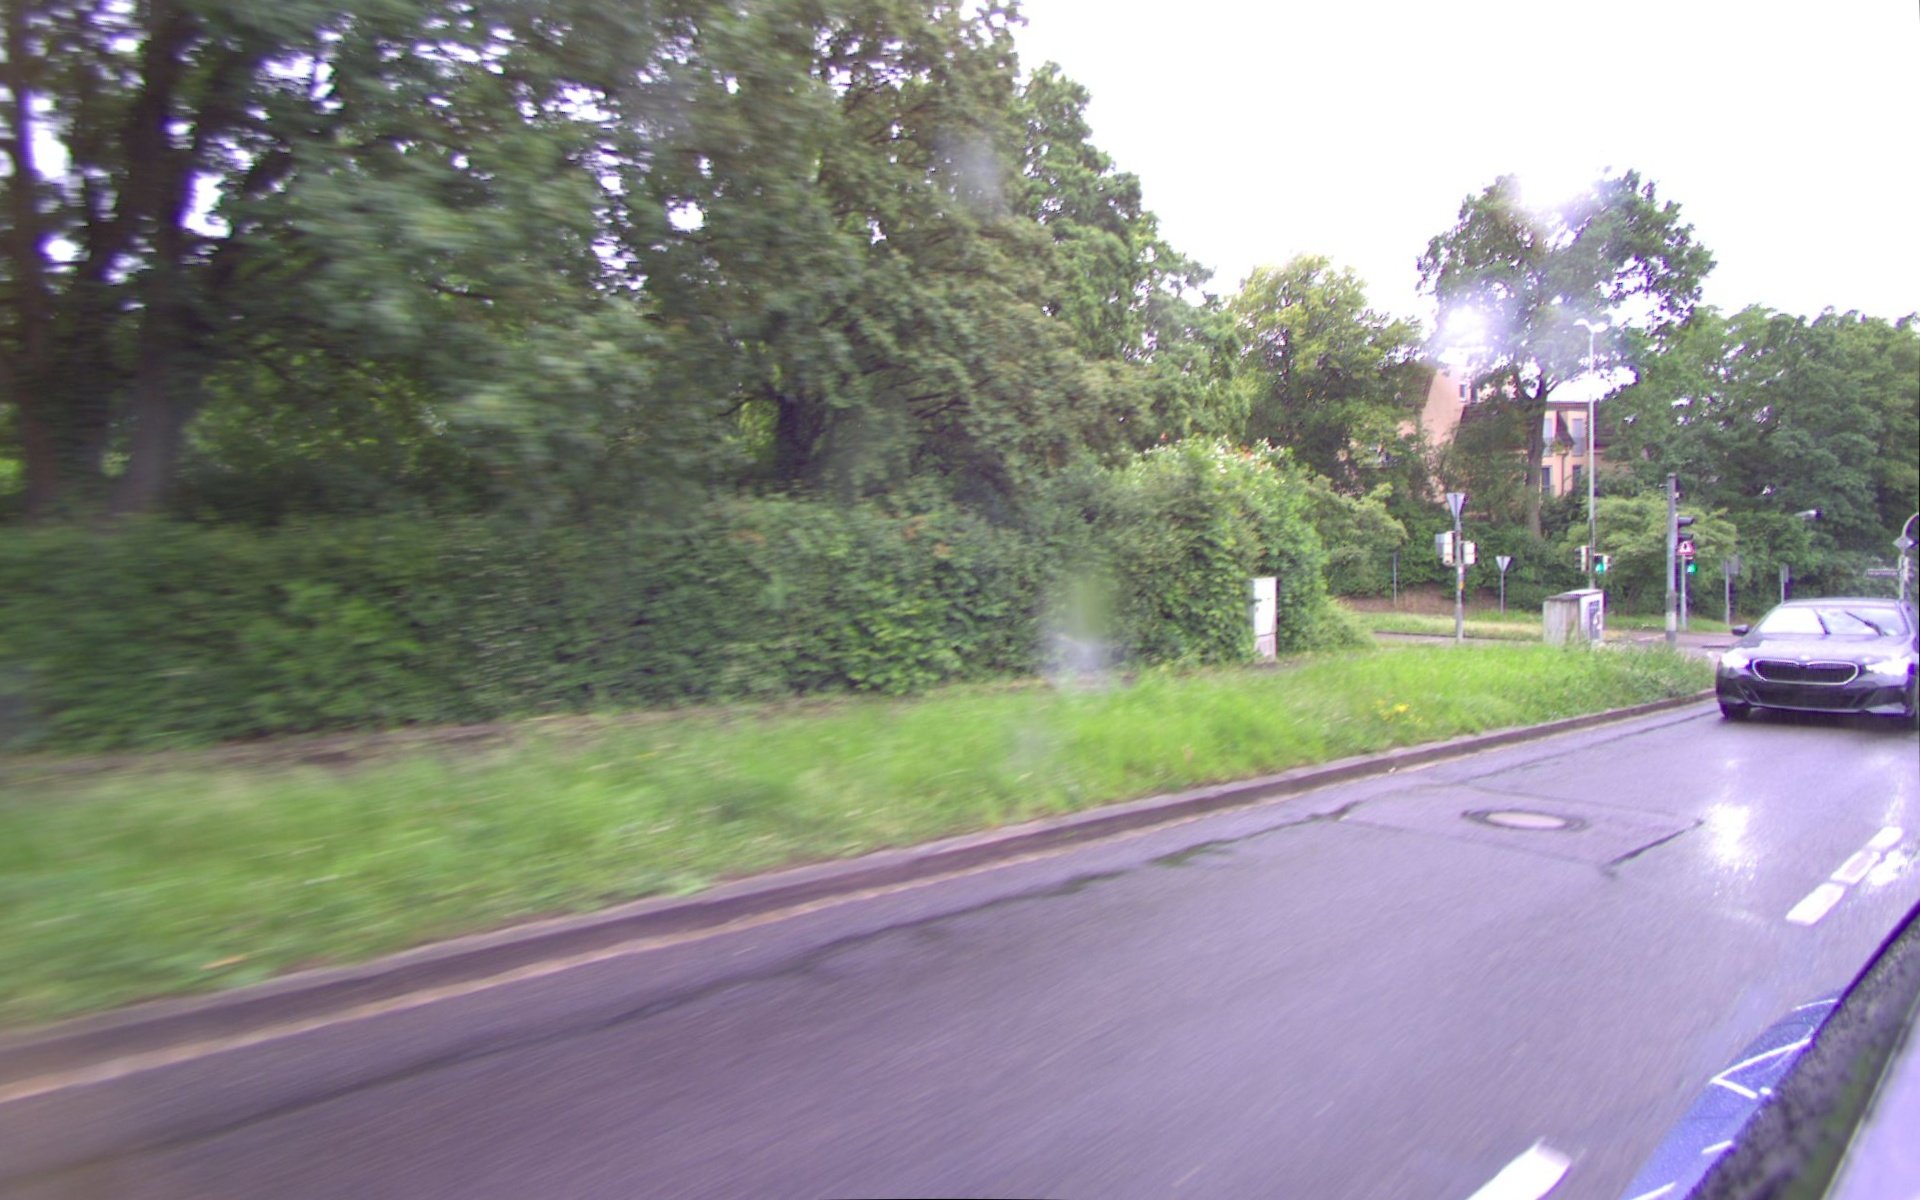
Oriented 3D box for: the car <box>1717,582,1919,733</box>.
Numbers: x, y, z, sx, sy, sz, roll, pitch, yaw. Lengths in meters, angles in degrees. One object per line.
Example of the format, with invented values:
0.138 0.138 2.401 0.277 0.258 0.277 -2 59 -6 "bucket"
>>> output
11.371 0.583 12.832 4.045 1.575 1.867 -1 3 -39 "car"
